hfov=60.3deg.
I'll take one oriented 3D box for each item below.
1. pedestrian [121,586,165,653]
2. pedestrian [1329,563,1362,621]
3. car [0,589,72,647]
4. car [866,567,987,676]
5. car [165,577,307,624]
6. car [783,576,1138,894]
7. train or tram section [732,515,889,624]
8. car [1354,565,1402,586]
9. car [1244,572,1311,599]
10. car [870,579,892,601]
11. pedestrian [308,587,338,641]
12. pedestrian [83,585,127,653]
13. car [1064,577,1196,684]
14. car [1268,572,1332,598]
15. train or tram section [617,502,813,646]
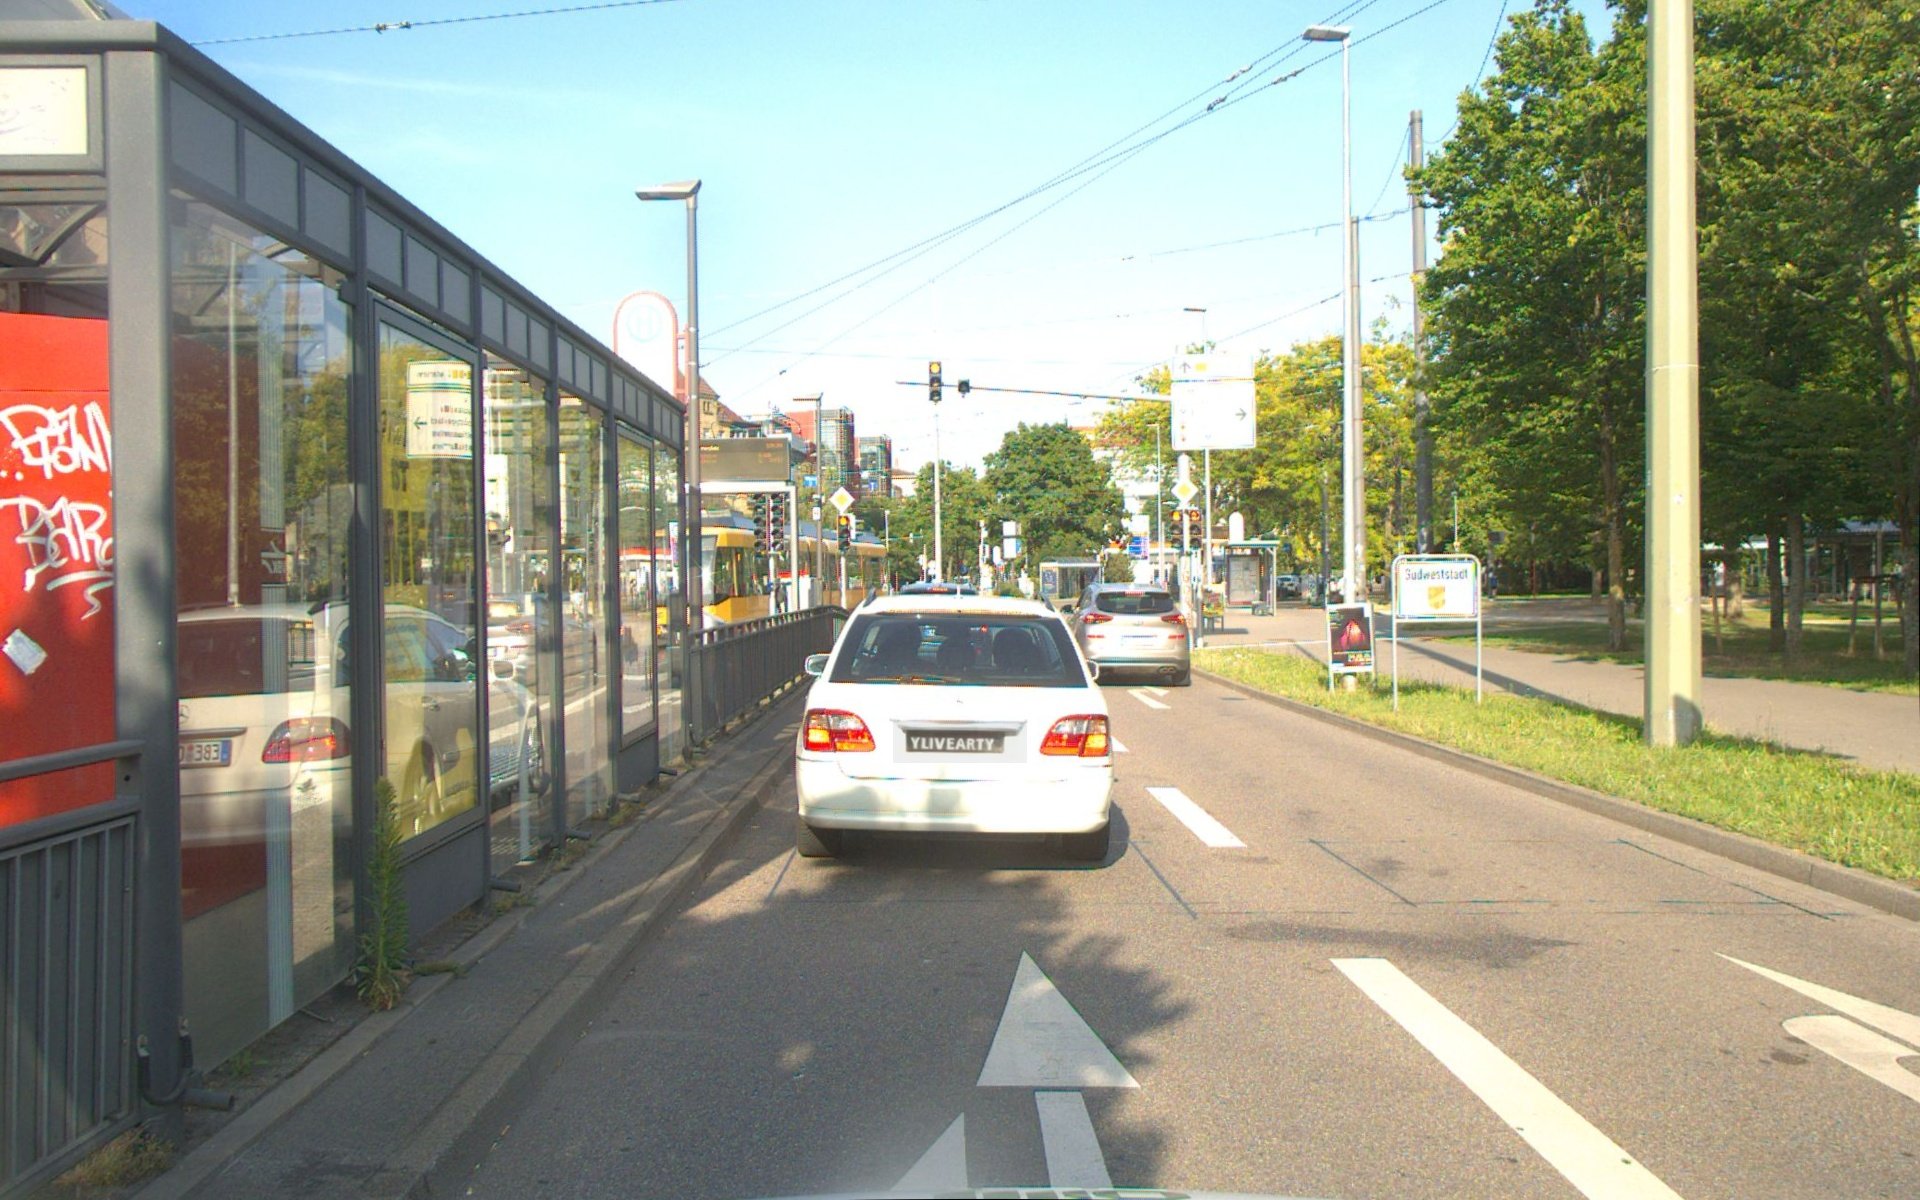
[{"bbox_3d":[-22.019,0.509,44.586,0.871,1.783,0.744,0,1,-12],"label":"pedestrian"},{"bbox_3d":[11.405,-0.240,48.955,0.867,1.681,0.746,0,1,7],"label":"pedestrian"},{"bbox_3d":[-31.015,0.561,53.357,3.903,1.780,2.001,0,1,17],"label":"car"},{"bbox_3d":[-0.500,0.313,28.179,1.750,1.719,4.002,0,1,3],"label":"car"},{"bbox_3d":[-27.100,-0.022,62.102,2.158,1.656,4.716,0,1,22],"label":"car"},{"bbox_3d":[0.025,0.640,10.194,1.722,1.529,4.001,-1,1,1],"label":"car"},{"bbox_3d":[-5.134,-1.086,60.292,2.789,3.540,13.211,0,1,8],"label":"train or tram section"},{"bbox_3d":[35.550,-2.119,140.728,3.902,1.680,2.002,-1,0,13],"label":"car"},{"bbox_3d":[20.588,-0.932,107.285,3.907,1.680,1.999,-1,0,25],"label":"car"},{"bbox_3d":[-7.745,-1.015,162.614,1.953,2.049,3.999,-1,1,-2],"label":"car"},{"bbox_3d":[-21.241,0.451,55.172,0.651,1.783,0.746,0,1,3],"label":"pedestrian"},{"bbox_3d":[-22.916,0.499,44.353,0.871,1.783,0.744,0,1,-12],"label":"pedestrian"},{"bbox_3d":[2.759,0.449,27.642,1.990,1.633,4.002,0,1,3],"label":"car"},{"bbox_3d":[23.544,-1.060,114.517,3.941,1.680,1.982,-2,0,-28],"label":"car"},{"bbox_3d":[-6.626,-0.762,47.354,2.790,3.540,13.207,0,1,4],"label":"train or tram section"}]
